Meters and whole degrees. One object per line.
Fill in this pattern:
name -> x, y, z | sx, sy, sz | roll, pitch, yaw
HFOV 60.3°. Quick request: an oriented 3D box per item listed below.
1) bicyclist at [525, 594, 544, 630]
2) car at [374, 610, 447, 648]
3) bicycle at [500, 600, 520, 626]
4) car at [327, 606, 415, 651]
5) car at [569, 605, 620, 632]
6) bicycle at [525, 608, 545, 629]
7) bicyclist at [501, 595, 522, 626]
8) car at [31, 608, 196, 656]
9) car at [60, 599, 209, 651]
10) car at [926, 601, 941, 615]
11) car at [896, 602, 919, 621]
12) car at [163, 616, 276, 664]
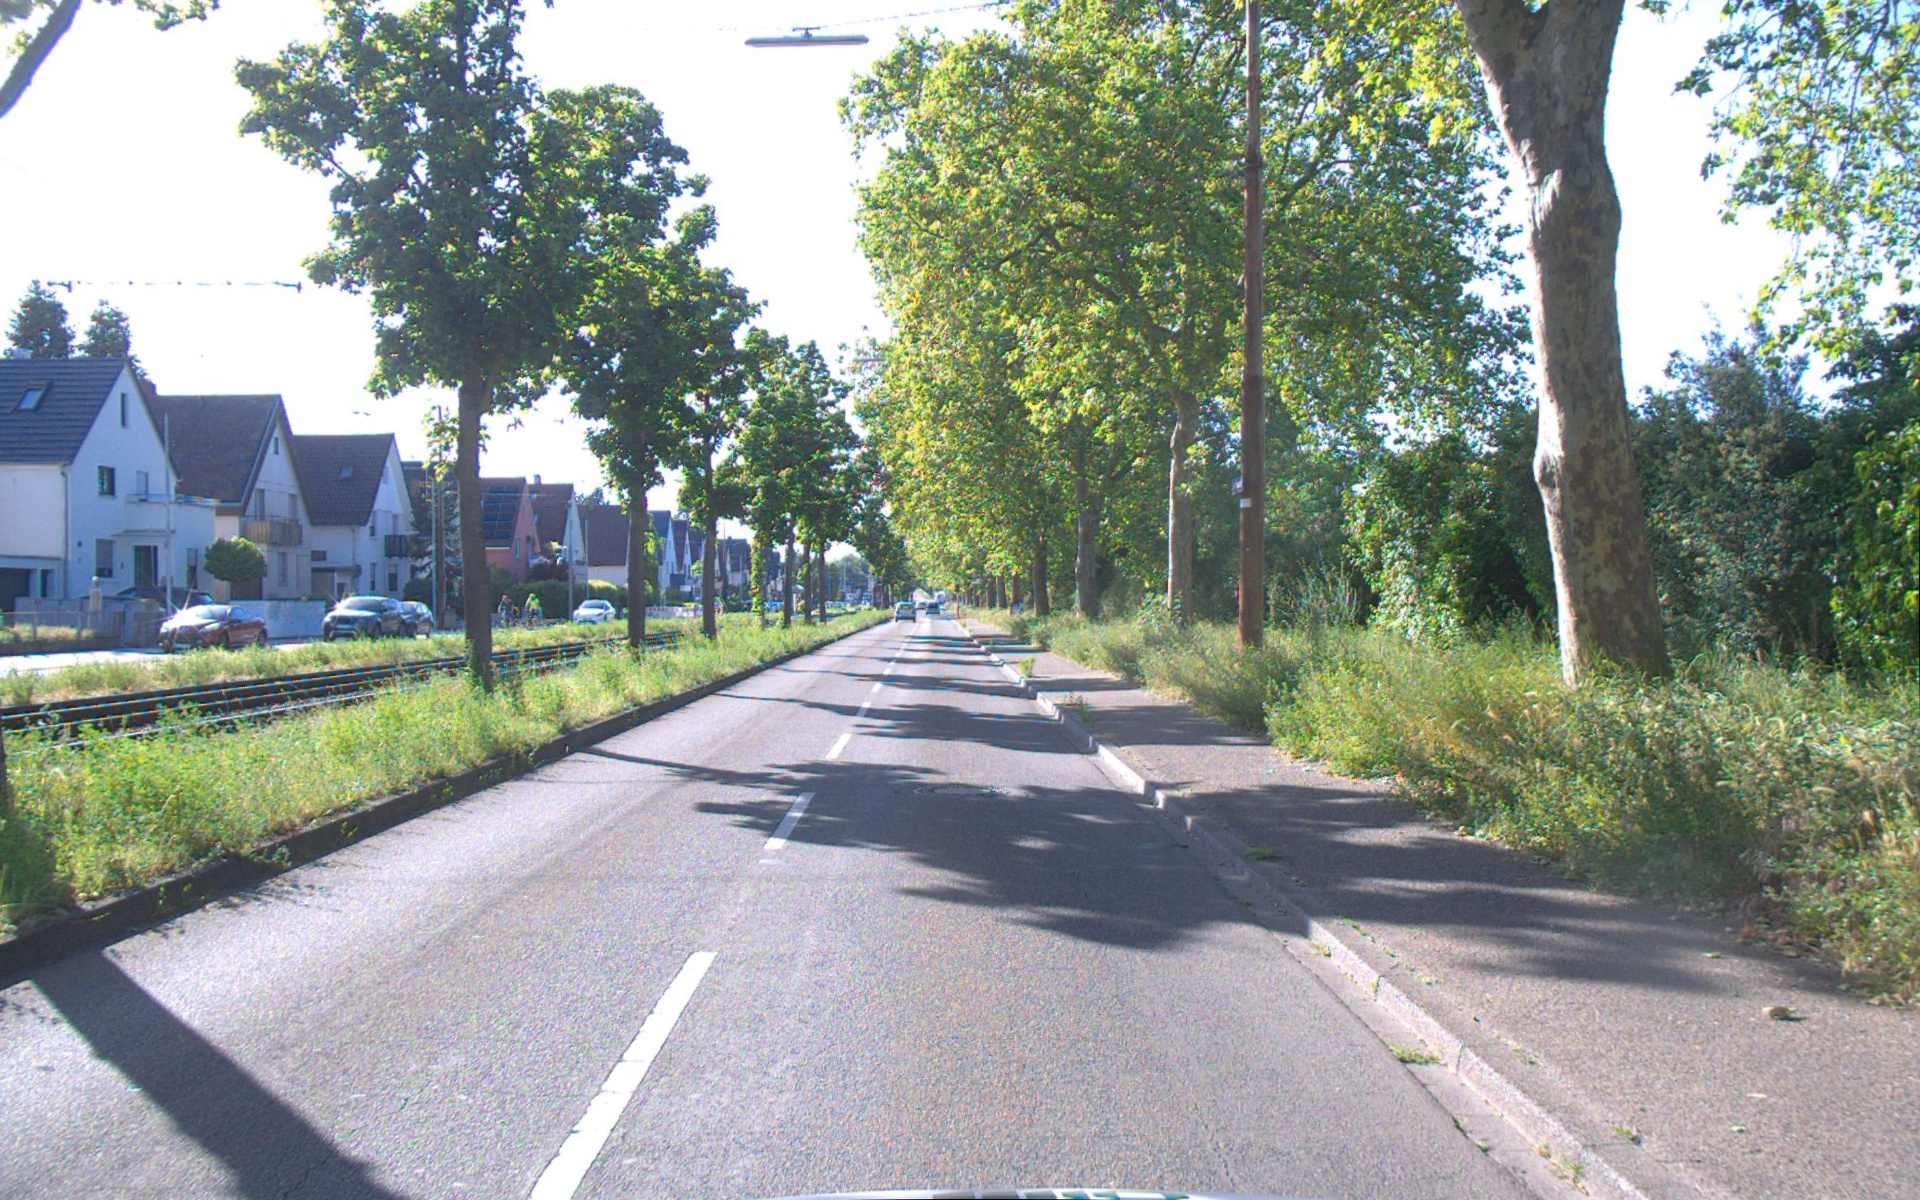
bicyclist -> -19.751, 0.551, 76.772 | 0.674, 1.681, 0.881 | -1, 0, -1
car -> -21.575, 1.125, 65.095 | 1.581, 1.476, 3.988 | 0, -1, -1
bicycle -> -19.698, 0.556, 72.425 | 0.390, 1.088, 1.879 | -1, 0, 0
car -> -21.549, 1.014, 60.652 | 1.610, 1.595, 4.386 | 0, -1, 0
car -> -22.987, 1.173, 104.261 | 1.952, 1.627, 4.732 | 0, -1, 2
bicycle -> -19.745, 0.836, 76.871 | 0.390, 0.944, 2.096 | -1, 0, 0
bicyclist -> -19.692, 0.447, 72.629 | 0.674, 1.360, 0.881 | -1, 0, -1
car -> -26.386, 0.992, 51.667 | 4.131, 1.489, 1.936 | 0, -1, -5
car -> -27.288, 0.830, 54.793 | 3.909, 1.699, 1.998 | 0, -1, -5
car -> -3.066, 0.959, 192.576 | 1.725, 1.539, 3.276 | 0, -1, 0
car -> -3.971, 0.884, 125.780 | 1.703, 1.425, 3.276 | 0, -1, -1
car -> -21.555, 1.139, 48.272 | 1.463, 1.349, 4.000 | 0, -1, 0
